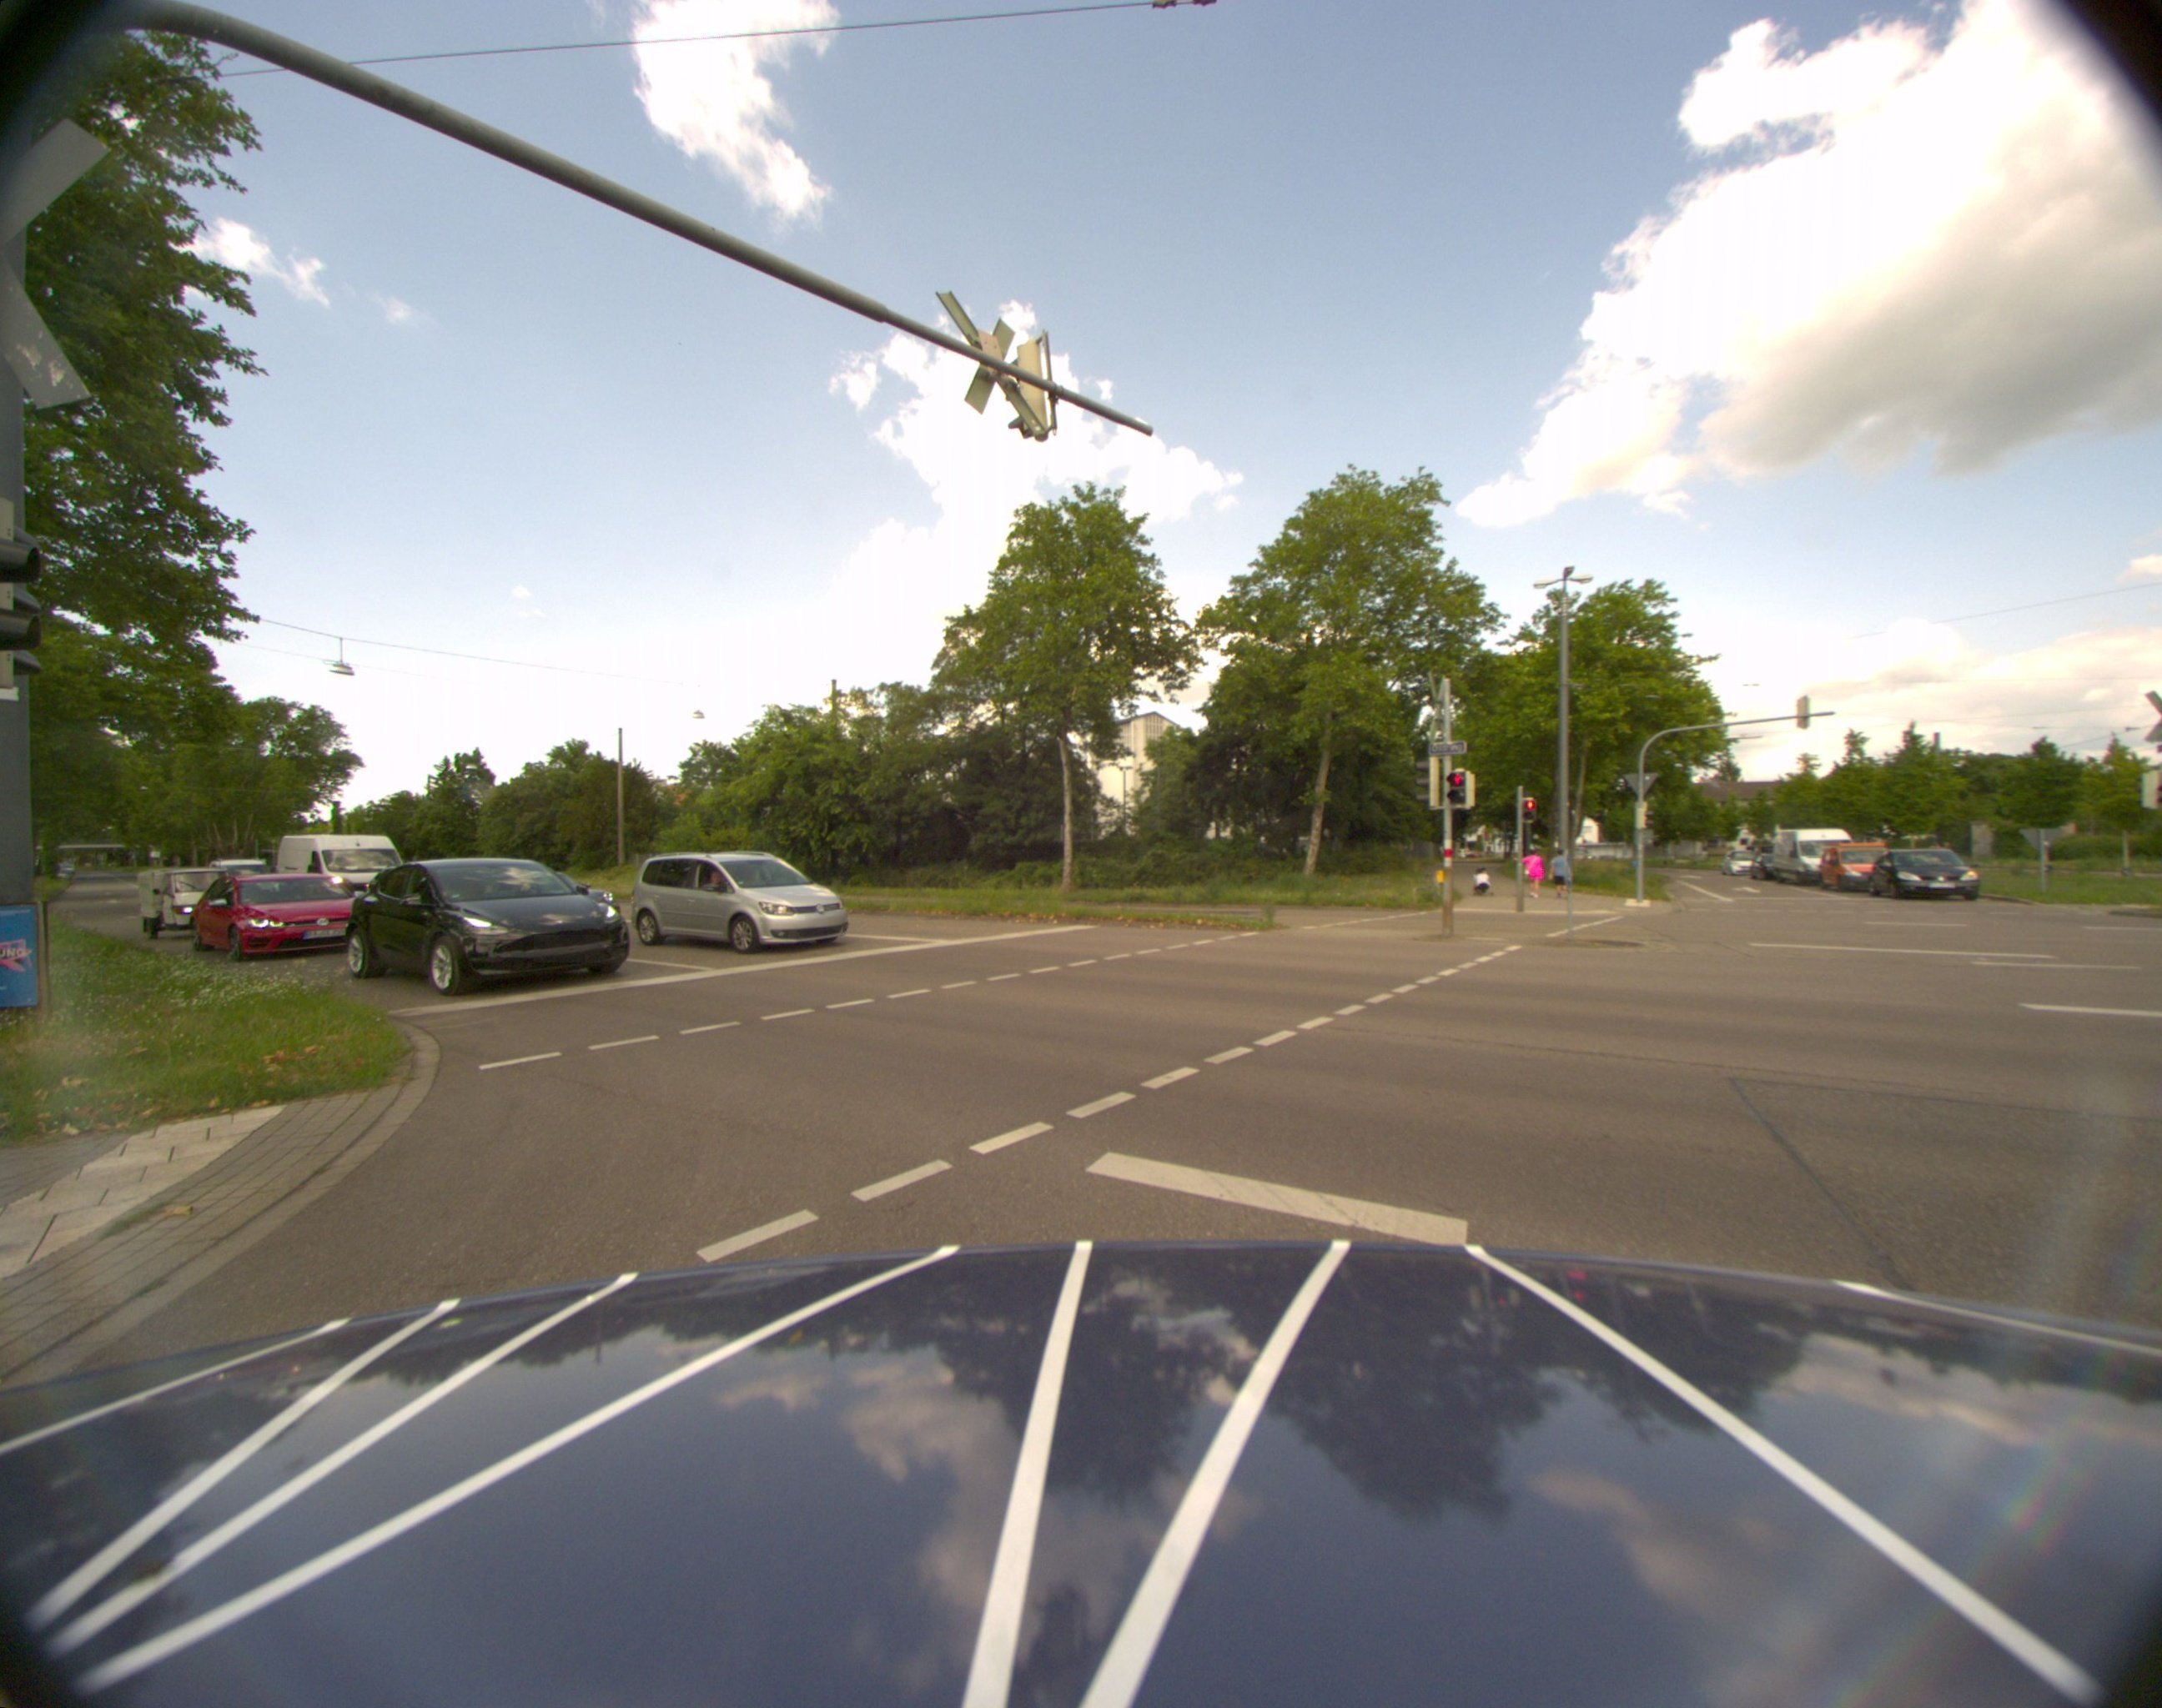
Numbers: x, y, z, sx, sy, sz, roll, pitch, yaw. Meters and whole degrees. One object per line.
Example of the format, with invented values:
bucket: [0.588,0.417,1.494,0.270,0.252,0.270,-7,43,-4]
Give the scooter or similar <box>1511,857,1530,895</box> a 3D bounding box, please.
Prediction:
scooter or similar: [14.374,0.720,24.842,0.321,1.225,0.777,-3,0,42]

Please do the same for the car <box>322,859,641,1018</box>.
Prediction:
car: [-8.211,0.940,10.301,4.567,1.643,1.935,0,2,33]

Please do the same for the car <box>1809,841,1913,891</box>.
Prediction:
car: [30.005,0.405,29.386,1.879,1.789,4.379,0,0,33]

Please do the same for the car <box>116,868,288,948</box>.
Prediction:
car: [-20.603,1.171,17.780,4.489,1.561,1.805,0,2,31]

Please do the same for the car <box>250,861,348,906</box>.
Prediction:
car: [-31.029,1.109,30.140,4.144,1.609,1.847,0,2,32]

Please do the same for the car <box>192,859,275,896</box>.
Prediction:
car: [-39.956,1.057,35.805,4.331,1.637,1.768,0,1,31]

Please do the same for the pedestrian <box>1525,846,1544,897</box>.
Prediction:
pedestrian: [14.571,0.550,24.423,0.420,1.610,0.597,-1,1,40]

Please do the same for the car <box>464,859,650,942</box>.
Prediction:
car: [-11.320,0.915,16.362,3.989,1.500,1.807,0,3,32]

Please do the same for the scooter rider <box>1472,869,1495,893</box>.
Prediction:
scooter rider: [12.991,0.853,24.500,0.610,0.724,0.861,-3,-1,29]

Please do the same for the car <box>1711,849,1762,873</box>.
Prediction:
car: [41.089,0.416,47.741,1.806,1.423,4.391,0,0,32]

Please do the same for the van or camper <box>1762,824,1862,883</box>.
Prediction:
van or camper: [33.629,-0.014,35.163,1.977,2.509,6.049,0,0,31]

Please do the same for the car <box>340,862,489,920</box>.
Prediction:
car: [-18.359,0.960,20.892,4.331,1.367,1.768,0,2,31]

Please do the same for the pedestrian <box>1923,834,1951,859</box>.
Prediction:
pedestrian: [70.309,-0.623,62.442,1.104,2.002,1.179,0,1,21]

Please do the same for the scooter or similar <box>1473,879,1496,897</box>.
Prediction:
scooter or similar: [13.007,1.089,24.498,0.610,0.508,0.859,-3,-1,29]

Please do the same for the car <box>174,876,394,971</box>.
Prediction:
car: [-14.851,1.166,14.118,4.489,1.383,1.805,0,2,31]

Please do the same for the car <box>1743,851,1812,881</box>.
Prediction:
car: [36.960,0.582,40.444,1.806,1.423,4.477,0,1,31]

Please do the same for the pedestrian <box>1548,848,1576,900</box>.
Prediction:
pedestrian: [15.072,0.611,23.814,0.631,1.610,0.612,-1,1,40]

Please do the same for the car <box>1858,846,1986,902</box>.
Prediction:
car: [26.513,0.578,24.124,1.731,1.621,4.060,0,0,33]

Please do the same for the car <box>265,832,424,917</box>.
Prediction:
car: [-24.589,0.613,25.320,5.917,2.516,2.231,0,2,31]

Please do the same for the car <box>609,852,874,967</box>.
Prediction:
car: [-5.982,0.842,13.283,4.489,1.643,1.934,0,2,31]
